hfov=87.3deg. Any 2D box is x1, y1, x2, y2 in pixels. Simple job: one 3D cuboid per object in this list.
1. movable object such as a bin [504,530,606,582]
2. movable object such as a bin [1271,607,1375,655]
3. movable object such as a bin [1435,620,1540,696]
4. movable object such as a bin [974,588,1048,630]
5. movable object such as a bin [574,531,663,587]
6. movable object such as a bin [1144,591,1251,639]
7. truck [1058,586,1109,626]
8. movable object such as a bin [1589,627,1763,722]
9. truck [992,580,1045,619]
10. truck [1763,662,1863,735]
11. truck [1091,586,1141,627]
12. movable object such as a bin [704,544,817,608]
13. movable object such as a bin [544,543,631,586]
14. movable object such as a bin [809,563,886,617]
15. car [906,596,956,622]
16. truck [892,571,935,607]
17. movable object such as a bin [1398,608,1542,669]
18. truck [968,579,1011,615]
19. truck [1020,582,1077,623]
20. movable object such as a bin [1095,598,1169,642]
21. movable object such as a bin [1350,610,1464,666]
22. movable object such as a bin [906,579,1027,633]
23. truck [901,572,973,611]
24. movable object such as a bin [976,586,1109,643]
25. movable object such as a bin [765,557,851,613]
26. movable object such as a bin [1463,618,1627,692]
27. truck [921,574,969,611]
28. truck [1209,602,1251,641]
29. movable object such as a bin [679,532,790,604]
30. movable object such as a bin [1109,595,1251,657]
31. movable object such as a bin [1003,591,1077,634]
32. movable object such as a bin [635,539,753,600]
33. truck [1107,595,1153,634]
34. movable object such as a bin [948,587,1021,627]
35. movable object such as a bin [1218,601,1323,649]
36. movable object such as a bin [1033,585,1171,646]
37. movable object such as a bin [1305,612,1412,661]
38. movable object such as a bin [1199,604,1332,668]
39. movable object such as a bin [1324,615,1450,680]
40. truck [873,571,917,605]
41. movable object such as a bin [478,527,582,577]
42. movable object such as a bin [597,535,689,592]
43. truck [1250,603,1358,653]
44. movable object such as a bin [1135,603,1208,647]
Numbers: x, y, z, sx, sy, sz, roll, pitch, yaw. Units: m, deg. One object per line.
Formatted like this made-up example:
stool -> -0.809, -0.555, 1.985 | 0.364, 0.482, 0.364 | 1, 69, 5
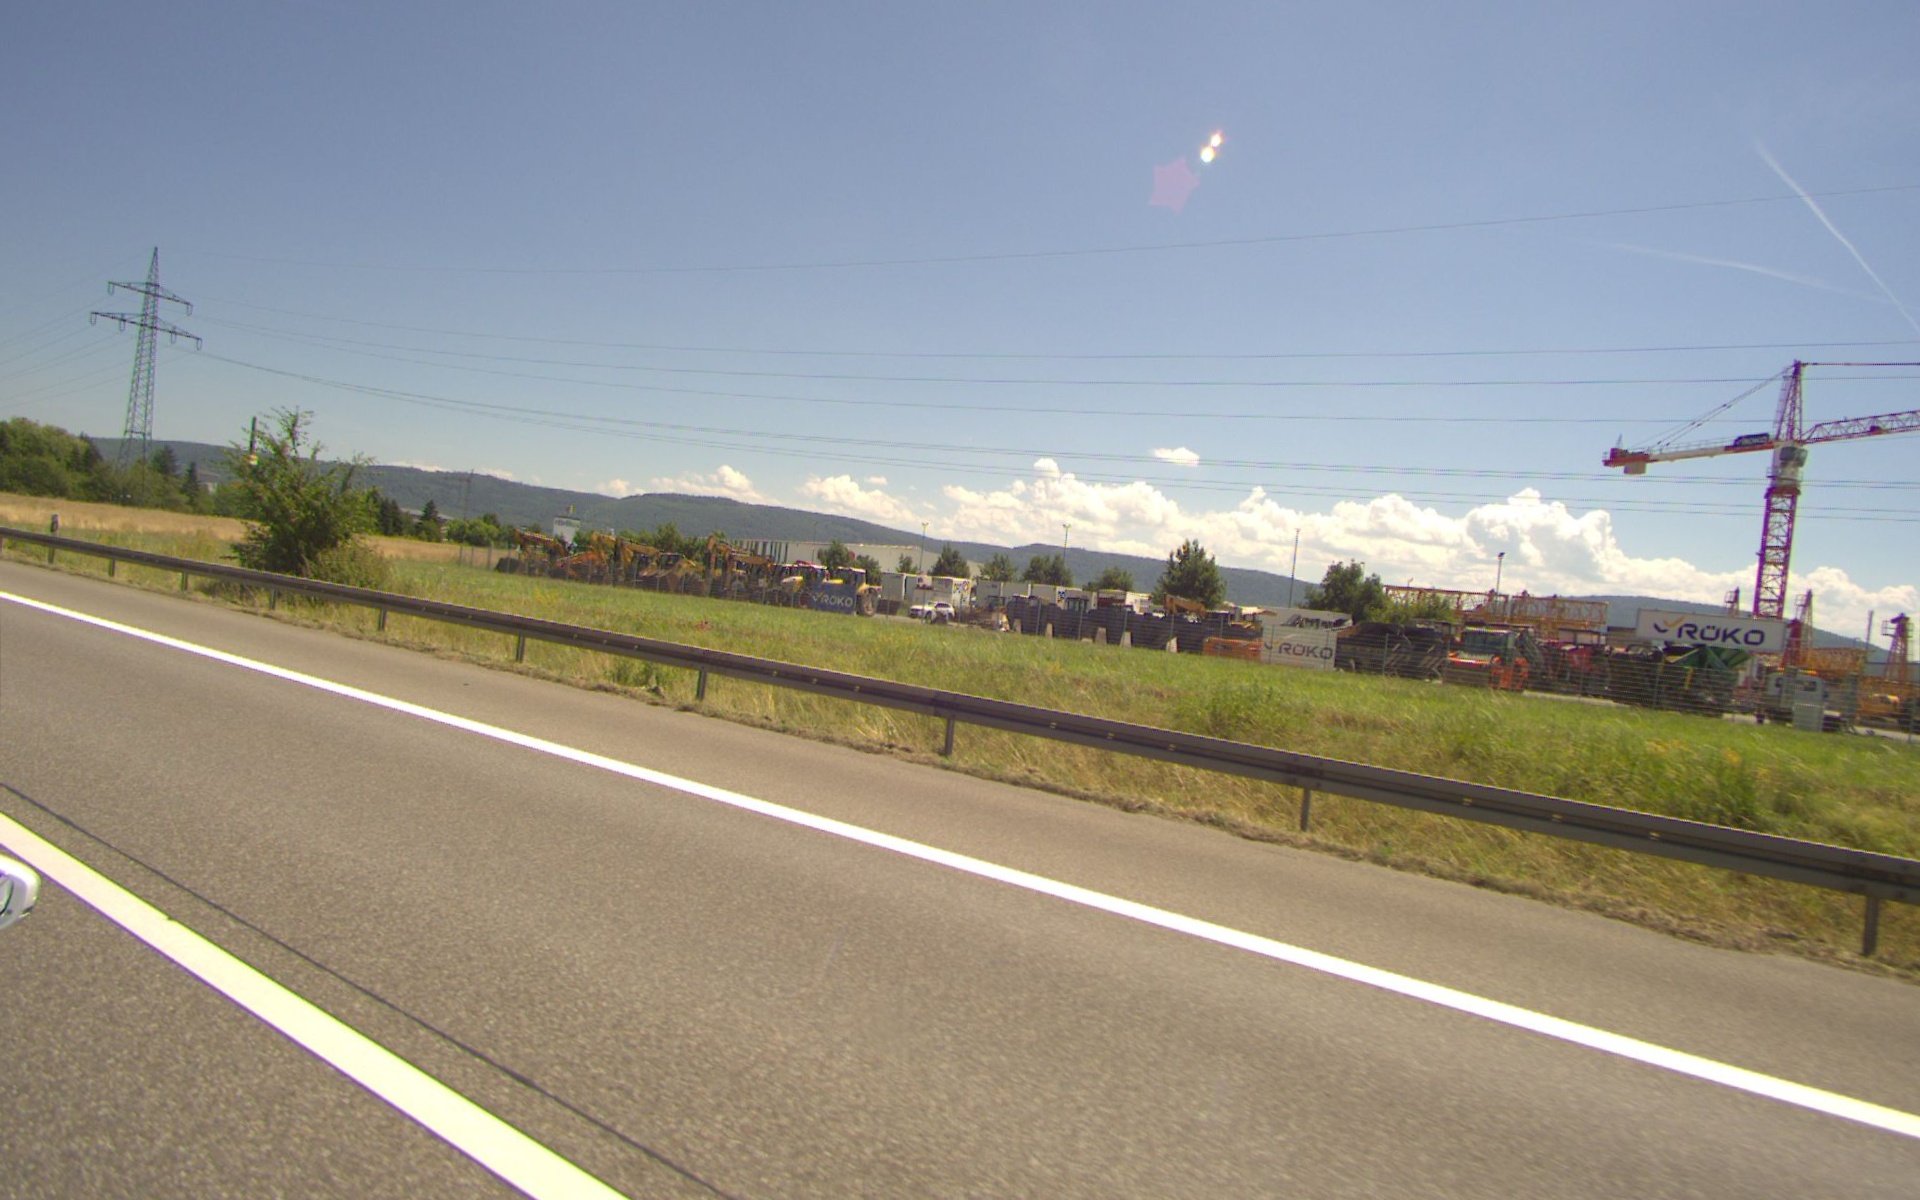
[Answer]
movable object such as a bin -> -33.398, -3.571, 83.199 | 2.239, 3.446, 7.540 | 7, 1, 37
movable object such as a bin -> 26.312, 2.292, 72.695 | 8.357, 2.723, 2.580 | 6, 1, -35
movable object such as a bin -> 25.569, 2.846, 48.629 | 5.808, 3.238, 2.490 | 5, 2, -44
movable object such as a bin -> 4.330, 0.800, 84.300 | 6.325, 2.916, 2.245 | 6, 1, -44
movable object such as a bin -> -27.185, -3.186, 80.280 | 2.239, 3.780, 6.341 | 7, 1, 37
movable object such as a bin -> 17.614, 1.140, 74.367 | 8.357, 2.723, 2.714 | 6, 1, -35
truck -> 11.255, 0.593, 91.300 | 2.868, 3.189, 6.361 | 6, 0, 20
movable object such as a bin -> 31.558, 3.360, 44.131 | 10.181, 3.459, 2.499 | 6, 1, -34
truck -> 5.810, 0.013, 98.502 | 3.284, 3.297, 6.362 | 6, 0, 19
truck -> 35.072, 3.977, 41.544 | 2.617, 2.495, 5.540 | 7, 1, 37
truck -> 13.714, 0.614, 88.141 | 2.868, 3.189, 6.361 | 6, 0, 20
movable object such as a bin -> -14.321, -1.665, 72.772 | 3.057, 3.832, 7.508 | 7, 1, 39
movable object such as a bin -> -30.345, -2.857, 82.171 | 2.239, 2.917, 6.341 | 7, 1, 37
movable object such as a bin -> -7.615, -0.660, 68.623 | 2.264, 3.238, 4.808 | 7, 1, 39
car -> -2.426, 0.766, 85.799 | 1.671, 1.569, 4.237 | 7, -2, 41
truck -> -5.079, -1.178, 111.470 | 2.720, 3.461, 5.719 | 6, 1, 17
movable object such as a bin -> 33.313, 2.545, 65.520 | 11.107, 2.984, 2.981 | 6, 1, -33
truck -> 3.017, -0.277, 101.645 | 2.798, 3.248, 5.334 | 6, 1, 17
truck -> 8.405, 0.251, 94.820 | 3.192, 3.297, 6.357 | 6, 0, 24
movable object such as a bin -> 13.724, 1.619, 79.816 | 6.325, 2.916, 2.245 | 6, 1, -44
movable object such as a bin -> 30.042, 2.557, 67.452 | 8.357, 2.984, 2.881 | 6, 1, -35
movable object such as a bin -> 0.532, 0.433, 65.219 | 3.136, 2.723, 7.807 | 7, 1, 44
truck -> -2.027, -0.747, 92.273 | 3.294, 2.857, 6.344 | 7, 0, 34
movable object such as a bin -> 5.124, 0.907, 61.598 | 7.780, 2.723, 3.147 | 6, 1, -35
movable object such as a bin -> -10.564, -1.018, 70.324 | 2.747, 3.335, 5.250 | 7, 1, 39
movable object such as a bin -> 37.036, 3.502, 63.540 | 11.582, 3.657, 2.951 | 6, 1, -28
truck -> -1.565, -0.804, 108.043 | 3.150, 3.461, 5.719 | 6, 1, 17
truck -> 25.017, 2.031, 93.155 | 2.868, 3.189, 6.361 | 6, 0, 20
movable object such as a bin -> -16.750, -2.328, 75.131 | 3.057, 4.586, 7.508 | 7, 1, 39
movable object such as a bin -> 12.340, 1.476, 56.222 | 7.780, 2.723, 3.147 | 6, 1, -35
movable object such as a bin -> 6.611, 1.065, 82.529 | 6.325, 2.916, 2.245 | 6, 1, -44
movable object such as a bin -> -20.266, -2.285, 77.105 | 3.287, 3.780, 8.176 | 7, 1, 39
truck -> 16.107, 1.428, 95.170 | 2.868, 3.189, 6.361 | 6, 0, 20
movable object such as a bin -> 2.120, 0.644, 86.021 | 6.325, 2.784, 2.245 | 6, 1, -44
movable object such as a bin -> 22.814, 1.863, 73.722 | 8.357, 2.723, 2.580 | 6, 1, -35
movable object such as a bin -> 8.345, 0.936, 58.857 | 7.780, 2.723, 3.147 | 6, 1, -35
movable object such as a bin -> 27.756, 2.575, 69.844 | 8.357, 2.723, 2.580 | 6, 1, -35
movable object such as a bin -> 16.365, 1.930, 53.709 | 6.838, 2.723, 3.146 | 5, 1, -36
movable object such as a bin -> 21.566, 2.436, 50.634 | 6.856, 2.723, 3.138 | 5, 1, -44
truck -> -7.420, -1.354, 115.777 | 2.858, 3.461, 5.719 | 6, 1, 17
movable object such as a bin -> -36.708, -4.054, 86.122 | 3.004, 3.446, 7.540 | 7, 1, 37
movable object such as a bin -> -24.537, -2.803, 78.196 | 2.457, 3.780, 6.341 | 7, 1, 37
truck -> 27.977, 2.221, 82.192 | 2.896, 3.190, 7.823 | 5, 1, -37
movable object such as a bin -> 16.650, 2.006, 78.917 | 6.325, 2.916, 2.245 | 6, 1, -44
